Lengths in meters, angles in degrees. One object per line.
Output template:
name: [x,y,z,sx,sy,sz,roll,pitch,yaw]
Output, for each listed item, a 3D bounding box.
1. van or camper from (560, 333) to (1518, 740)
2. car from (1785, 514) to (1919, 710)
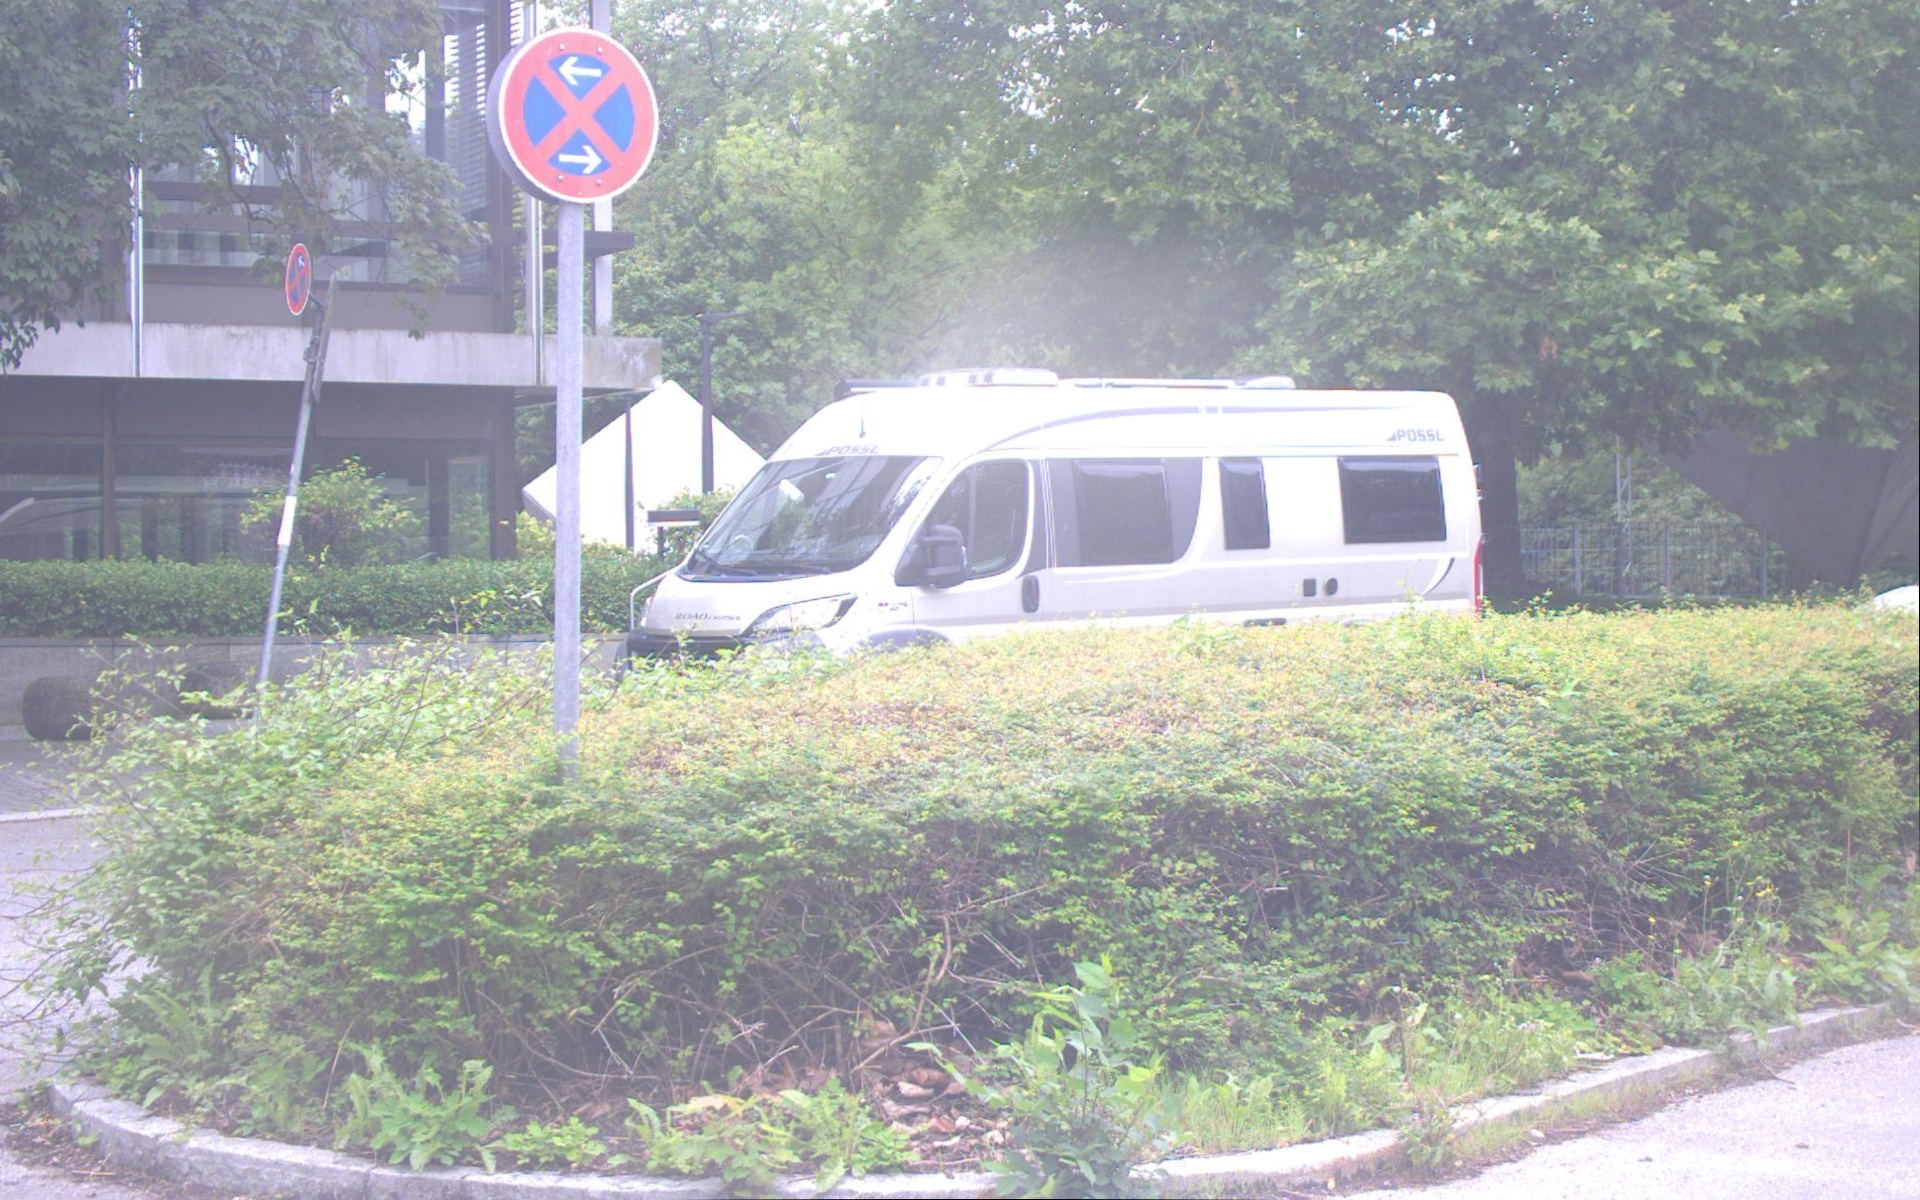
van or camper: [0.692,-0.387,22.221,6.401,2.273,2.254,-1,1,-42]
car: [8.903,0.064,27.796,3.986,1.503,2.000,-1,1,-27]
